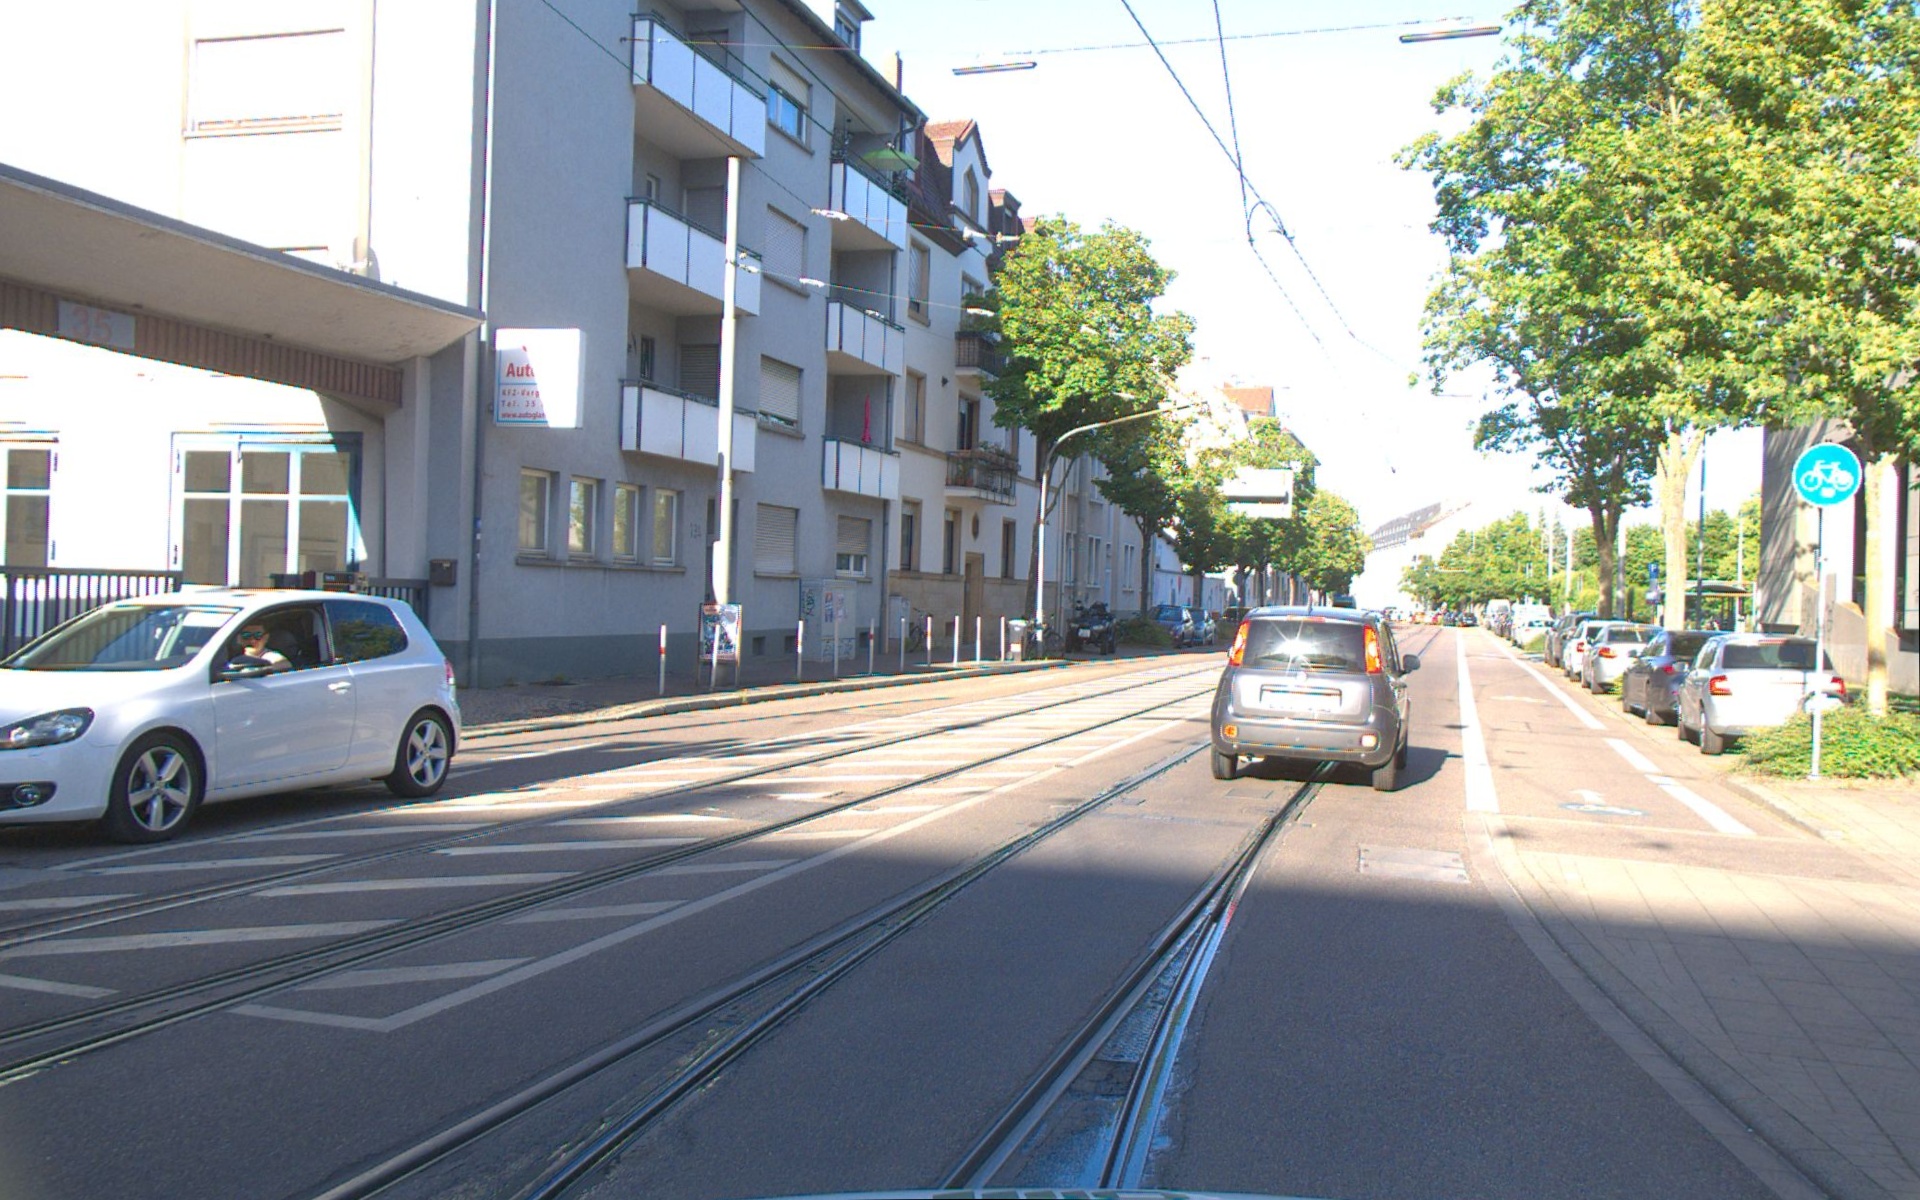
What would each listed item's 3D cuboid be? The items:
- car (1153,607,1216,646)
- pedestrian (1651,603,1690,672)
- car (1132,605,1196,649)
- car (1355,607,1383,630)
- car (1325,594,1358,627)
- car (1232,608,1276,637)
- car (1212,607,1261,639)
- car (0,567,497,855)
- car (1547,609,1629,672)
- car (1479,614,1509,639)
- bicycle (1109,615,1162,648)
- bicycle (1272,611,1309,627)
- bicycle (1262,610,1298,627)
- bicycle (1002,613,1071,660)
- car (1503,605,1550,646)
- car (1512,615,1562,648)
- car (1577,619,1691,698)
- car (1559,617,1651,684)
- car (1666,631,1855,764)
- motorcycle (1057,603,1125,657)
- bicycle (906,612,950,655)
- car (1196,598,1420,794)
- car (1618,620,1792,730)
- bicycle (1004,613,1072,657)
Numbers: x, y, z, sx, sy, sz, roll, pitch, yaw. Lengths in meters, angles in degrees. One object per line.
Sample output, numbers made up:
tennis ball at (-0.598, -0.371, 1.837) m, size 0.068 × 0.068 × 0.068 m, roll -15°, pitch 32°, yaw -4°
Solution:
car at (8.907, 1.009, 65.436) m, size 1.914 × 1.444 × 4.191 m, roll 1°, pitch 0°, yaw 15°
pedestrian at (21.532, 1.127, 50.110) m, size 0.948 × 2.049 × 1.025 m, roll 1°, pitch 0°, yaw 18°
car at (7.487, 0.951, 60.386) m, size 1.759 × 1.512 × 4.003 m, roll 1°, pitch 0°, yaw 15°
car at (28.554, 1.256, 115.399) m, size 1.743 × 1.518 × 4.191 m, roll 2°, pitch 0°, yaw 15°
car at (31.908, 0.887, 138.220) m, size 2.284 × 2.614 × 5.675 m, roll 1°, pitch 0°, yaw 16°
car at (15.555, 1.168, 87.284) m, size 1.914 × 1.444 × 4.191 m, roll 1°, pitch 0°, yaw 15°
car at (13.456, 1.105, 80.276) m, size 1.914 × 1.444 × 4.191 m, roll 1°, pitch 0°, yaw 15°
car at (-4.965, 0.582, 10.789) m, size 1.753 × 1.483 × 4.192 m, roll 0°, pitch 0°, yaw 17°
car at (18.077, 1.127, 47.759) m, size 1.778 × 1.669 × 4.108 m, roll 1°, pitch 0°, yaw 15°
car at (35.441, 1.749, 109.797) m, size 1.660 × 1.525 × 4.003 m, roll 1°, pitch 0°, yaw 15°
bicycle at (6.016, 1.072, 56.681) m, size 1.710 × 1.041 × 0.609 m, roll 3°, pitch -1°, yaw -3°
bicycle at (20.604, 1.160, 103.081) m, size 0.782 × 0.946 × 2.295 m, roll 1°, pitch 0°, yaw -37°
bicycle at (19.822, 1.151, 102.410) m, size 0.782 × 0.946 × 2.236 m, roll 1°, pitch 0°, yaw -37°
bicycle at (1.887, 0.894, 40.800) m, size 1.581 × 1.062 × 0.456 m, roll 3°, pitch -1°, yaw -15°
car at (28.126, 1.240, 82.216) m, size 1.914 × 1.938 × 4.191 m, roll 1°, pitch 0°, yaw 15°
car at (26.968, 1.455, 77.428) m, size 1.874 × 1.399 × 4.191 m, roll 1°, pitch 0°, yaw 15°
car at (14.119, 1.181, 34.845) m, size 1.784 × 1.489 × 4.159 m, roll 2°, pitch 0°, yaw 16°
car at (15.748, 1.180, 40.562) m, size 1.709 × 1.483 × 4.621 m, roll 1°, pitch 0°, yaw 17°
car at (10.365, 1.185, 21.660) m, size 1.607 × 1.481 × 3.917 m, roll 1°, pitch 0°, yaw 17°
motorcycle at (3.929, 0.869, 49.376) m, size 1.427 × 1.507 × 3.104 m, roll 1°, pitch 0°, yaw 16°
bicycle at (-0.787, 0.821, 41.065) m, size 0.495 × 1.024 × 2.021 m, roll 1°, pitch 0°, yaw 16°
car at (3.382, 0.807, 15.532) m, size 1.695 × 1.527 × 4.002 m, roll 2°, pitch 0°, yaw 17°
car at (11.787, 1.124, 26.470) m, size 1.800 × 1.516 × 4.645 m, roll 1°, pitch 0°, yaw 15°
bicycle at (2.012, 0.900, 42.583) m, size 1.672 × 1.051 × 0.444 m, roll 3°, pitch -1°, yaw -4°
